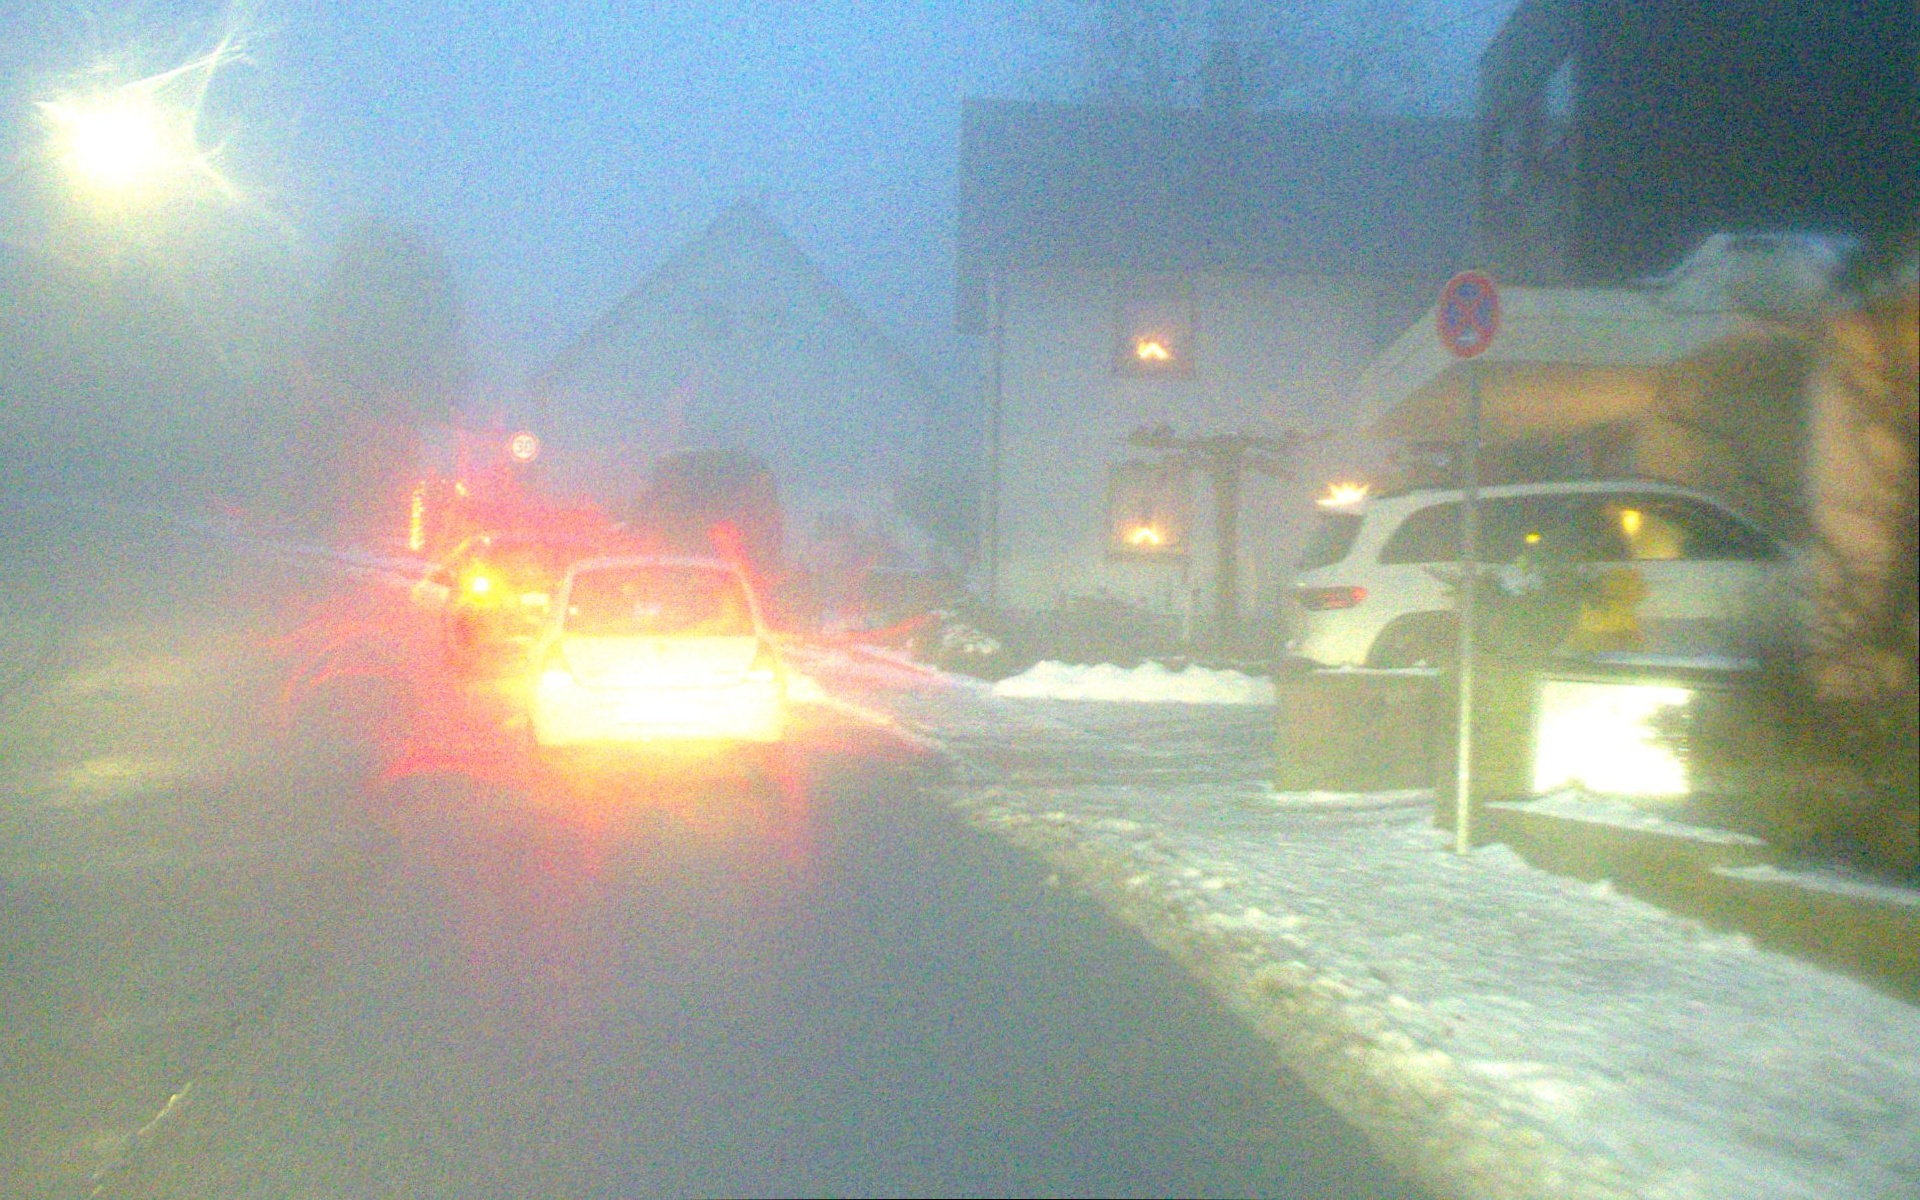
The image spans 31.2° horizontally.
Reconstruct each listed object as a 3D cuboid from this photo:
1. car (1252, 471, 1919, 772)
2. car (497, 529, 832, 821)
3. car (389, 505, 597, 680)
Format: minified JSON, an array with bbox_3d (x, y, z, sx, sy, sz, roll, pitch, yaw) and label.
[{"bbox_3d":[4.082,0.129,22.404,4.206,1.852,1.911,0,0,1],"label":"car"},{"bbox_3d":[-2.032,0.421,22.910,1.897,1.603,4.001,5,1,-7],"label":"car"},{"bbox_3d":[-4.869,-0.087,36.284,1.993,1.731,3.879,0,0,-5],"label":"car"}]
